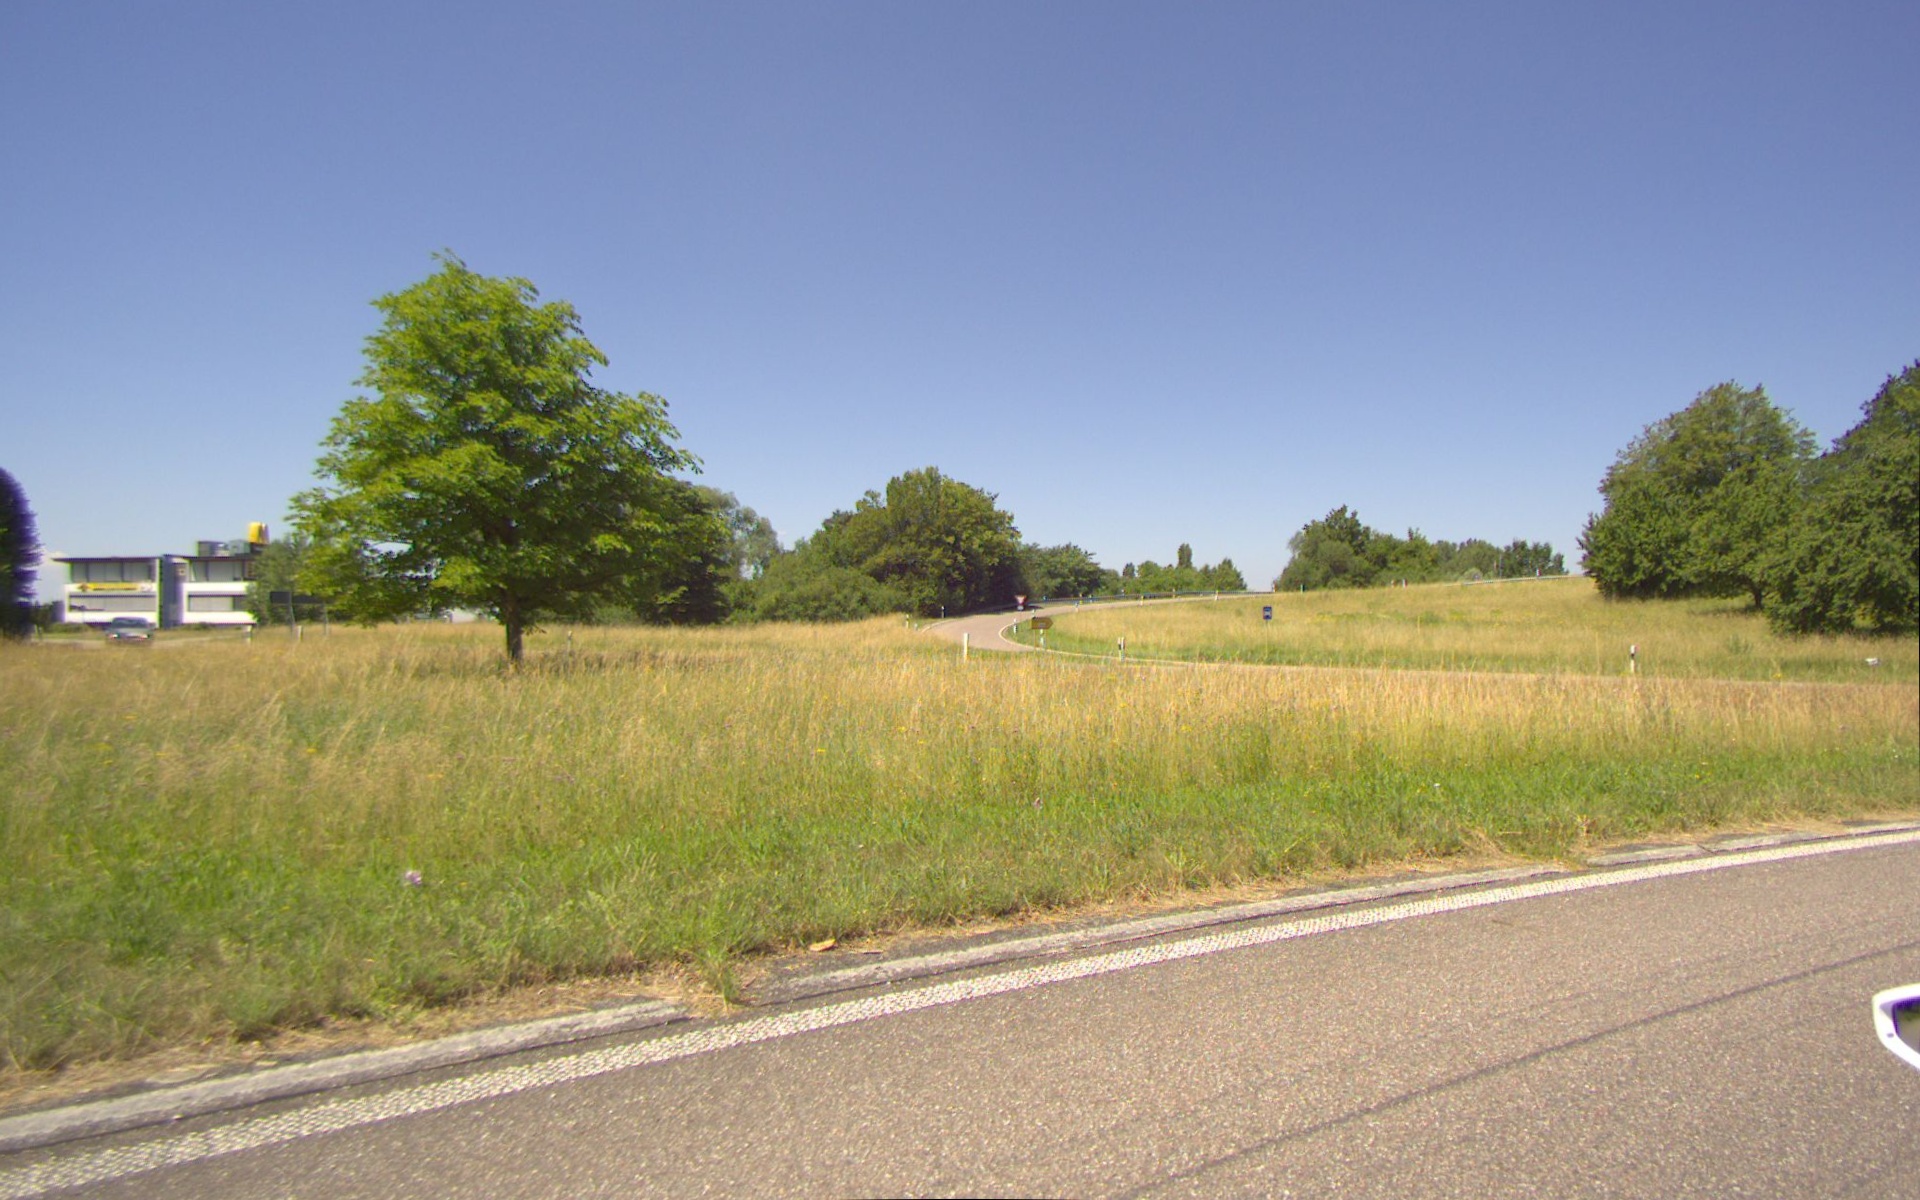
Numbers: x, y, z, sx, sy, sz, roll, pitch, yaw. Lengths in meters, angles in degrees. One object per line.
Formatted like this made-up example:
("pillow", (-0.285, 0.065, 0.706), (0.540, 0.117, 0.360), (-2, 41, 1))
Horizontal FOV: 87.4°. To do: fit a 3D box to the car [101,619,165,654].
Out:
("car", (-39.516, 1.770, 48.086), (1.836, 1.617, 3.967), (0, -3, -32))
